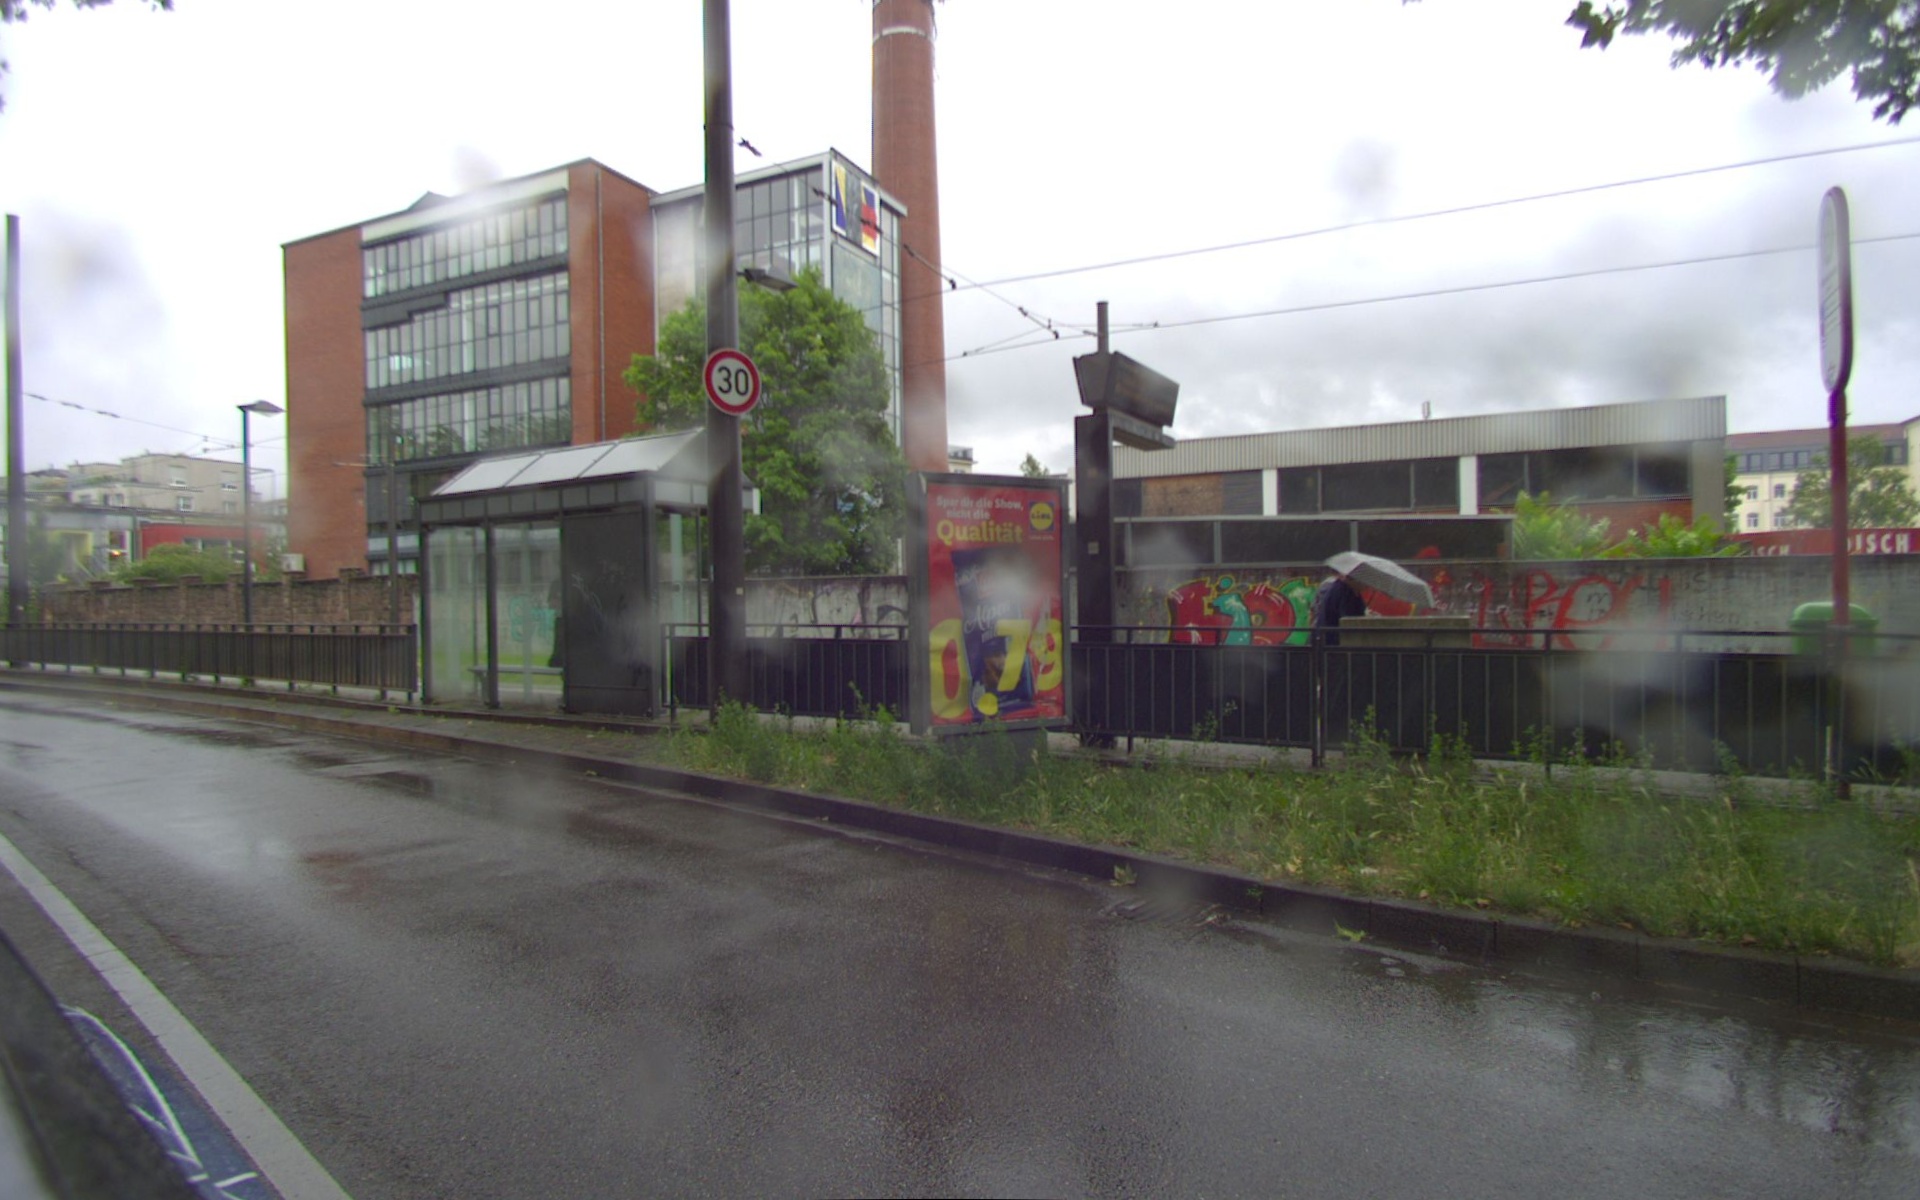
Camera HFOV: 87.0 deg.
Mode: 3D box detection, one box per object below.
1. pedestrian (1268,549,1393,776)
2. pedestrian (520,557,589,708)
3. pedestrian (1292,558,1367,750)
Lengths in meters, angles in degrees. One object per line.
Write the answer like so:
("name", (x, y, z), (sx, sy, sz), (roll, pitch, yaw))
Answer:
("pedestrian", (3.178, 0.504, 8.657), (0.841, 1.818, 0.819), (-1, 0, 30))
("pedestrian", (-4.915, 0.382, 12.262), (0.620, 1.762, 0.565), (-1, 0, -41))
("pedestrian", (2.914, 0.407, 7.973), (0.492, 1.438, 0.606), (-1, 0, 25))
